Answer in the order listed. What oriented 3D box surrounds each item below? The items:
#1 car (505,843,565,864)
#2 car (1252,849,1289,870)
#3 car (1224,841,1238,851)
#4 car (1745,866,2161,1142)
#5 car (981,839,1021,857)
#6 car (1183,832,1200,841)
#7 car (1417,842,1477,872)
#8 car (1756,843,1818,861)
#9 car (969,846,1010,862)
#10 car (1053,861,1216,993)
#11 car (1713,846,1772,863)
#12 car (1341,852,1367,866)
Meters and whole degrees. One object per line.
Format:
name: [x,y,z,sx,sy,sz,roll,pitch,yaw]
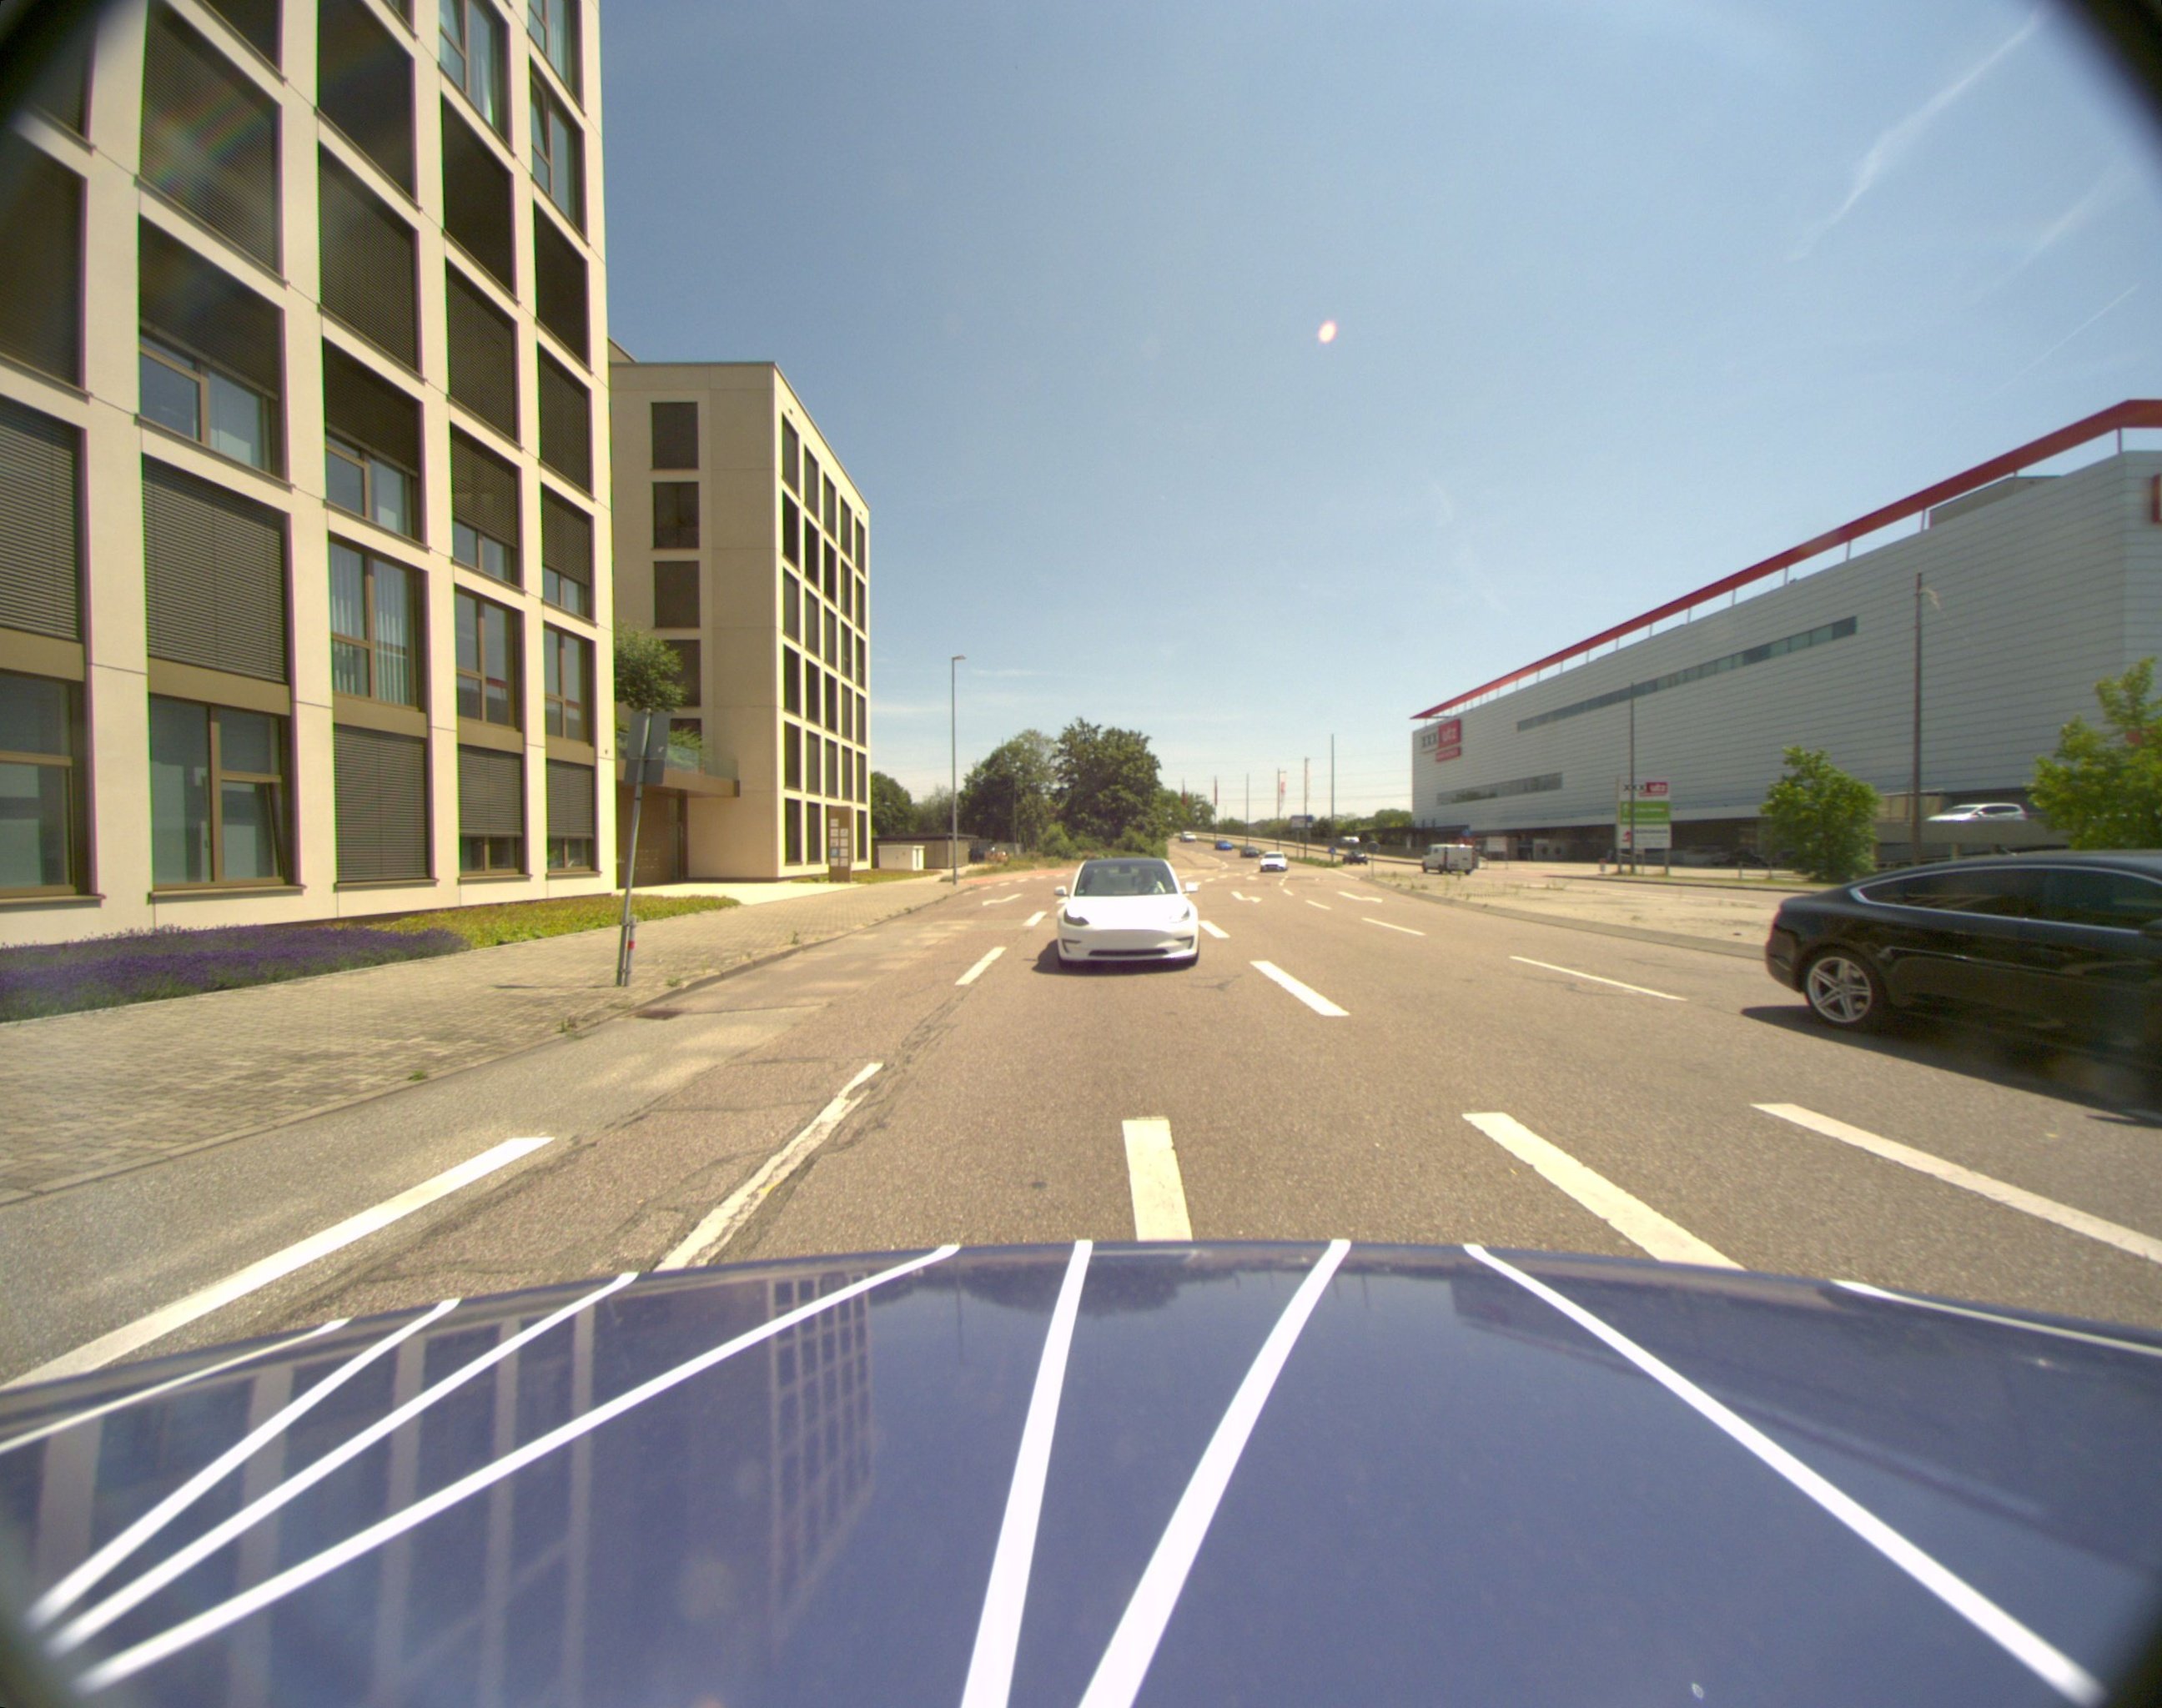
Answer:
car: [-47.417,-0.070,66.088,1.997,1.841,4.003,0,1,10]
car: [14.110,0.385,56.689,1.735,1.441,4.230,0,0,0]
car: [22.686,-1.184,115.073,1.800,1.405,4.407,-1,1,6]
car: [6.554,0.806,4.299,1.752,1.382,4.534,-1,0,2]
car: [-8.943,-0.638,84.793,4.005,1.942,1.996,0,1,-25]
car: [19.346,-3.065,133.258,1.680,1.566,4.053,-1,1,-10]
car: [24.288,0.172,50.598,1.835,1.840,4.841,1,1,2]
car: [60.882,-0.206,65.588,3.482,1.487,1.959,0,1,2]
car: [-9.766,-0.036,80.783,4.005,1.652,1.834,0,1,-23]
car: [0.575,0.878,11.167,1.880,1.417,4.405,-2,1,-2]
car: [60.943,0.036,70.017,3.746,1.611,1.911,0,1,1]
car: [26.572,0.423,73.991,1.858,1.295,3.897,1,1,12]
